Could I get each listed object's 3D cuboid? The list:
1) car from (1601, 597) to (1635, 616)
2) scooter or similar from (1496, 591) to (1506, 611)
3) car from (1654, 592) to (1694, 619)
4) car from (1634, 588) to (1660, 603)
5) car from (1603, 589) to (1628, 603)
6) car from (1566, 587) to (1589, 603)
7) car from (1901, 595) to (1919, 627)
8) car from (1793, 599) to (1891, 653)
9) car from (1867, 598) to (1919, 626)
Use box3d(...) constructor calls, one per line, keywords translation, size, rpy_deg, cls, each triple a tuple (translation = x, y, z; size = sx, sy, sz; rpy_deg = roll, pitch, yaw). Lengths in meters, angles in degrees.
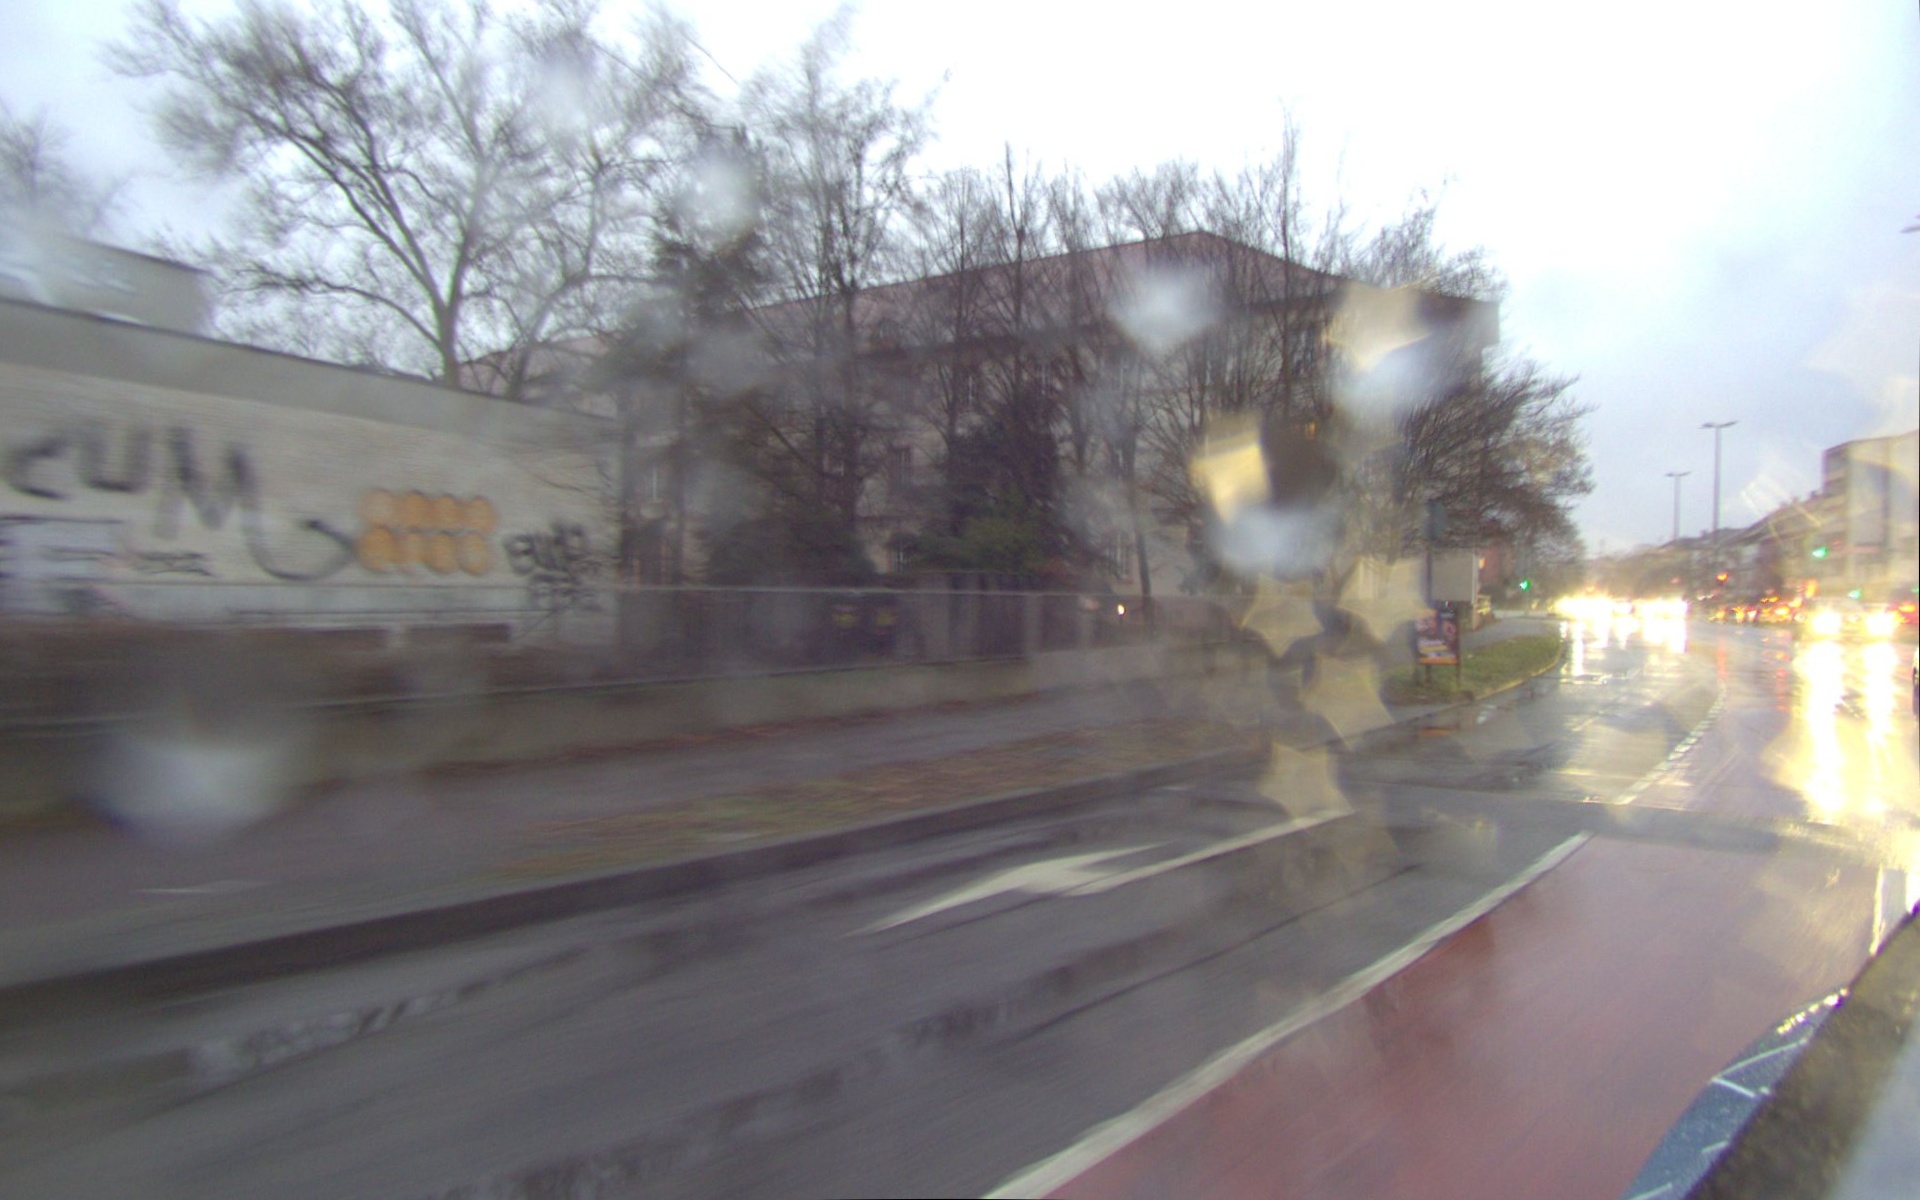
box3d(translation=(53.811, 0.520, 82.838), size=(1.951, 1.404, 4.488), rpy_deg=(2, 1, 28), cls="car")
box3d(translation=(32.906, 0.069, 61.567), size=(0.436, 1.219, 1.073), rpy_deg=(0, 0, 21), cls="scooter or similar")
box3d(translation=(55.927, 0.408, 79.295), size=(1.981, 2.039, 3.962), rpy_deg=(1, 1, 27), cls="car")
box3d(translation=(74.461, -0.486, 109.660), size=(1.982, 1.629, 3.958), rpy_deg=(0, 0, 29), cls="car")
box3d(translation=(72.188, -0.460, 111.508), size=(1.982, 1.554, 3.958), rpy_deg=(0, 0, 29), cls="car")
box3d(translation=(69.118, -0.558, 113.357), size=(1.982, 1.717, 3.958), rpy_deg=(0, 0, 29), cls="car")
box3d(translation=(47.737, 0.564, 49.072), size=(1.951, 1.533, 4.488), rpy_deg=(2, 1, 28), cls="car")
box3d(translation=(32.239, 0.892, 37.123), size=(1.804, 1.764, 4.144), rpy_deg=(2, 1, 28), cls="car")
box3d(translation=(50.342, 0.634, 53.906), size=(1.951, 1.404, 4.488), rpy_deg=(2, 1, 28), cls="car")
